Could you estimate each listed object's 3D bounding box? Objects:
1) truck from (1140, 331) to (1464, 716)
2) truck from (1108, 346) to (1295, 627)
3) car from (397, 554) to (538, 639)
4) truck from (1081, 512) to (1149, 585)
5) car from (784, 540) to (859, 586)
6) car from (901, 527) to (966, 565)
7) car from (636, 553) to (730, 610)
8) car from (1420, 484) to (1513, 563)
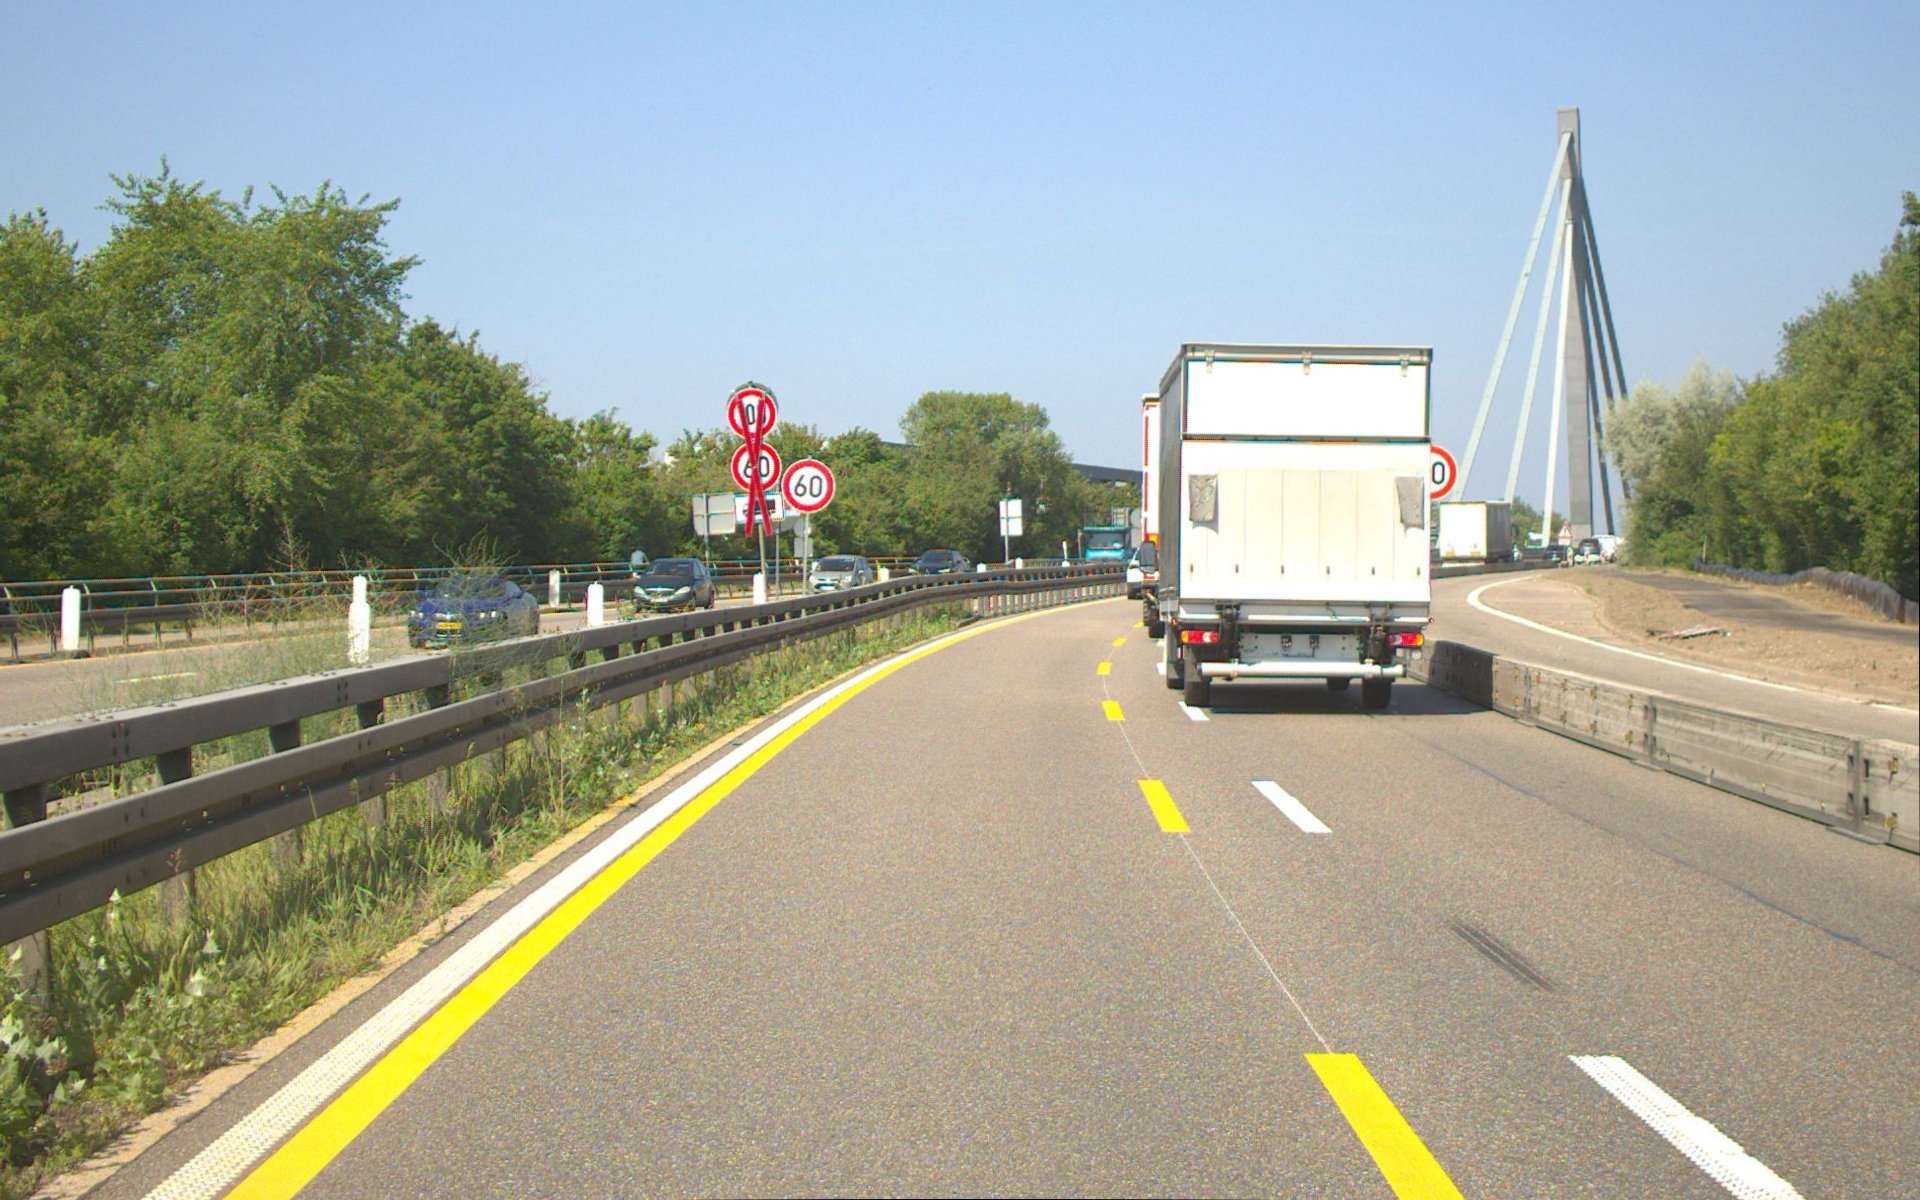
[{"bbox_3d":[3.258,-0.760,34.523,2.634,3.416,7.233,1,1,1],"label":"truck"},{"bbox_3d":[4.014,-1.892,58.568,2.634,4.453,7.233,1,1,0],"label":"truck"},{"bbox_3d":[-9.609,-0.084,67.311,1.994,1.546,4.000,-1,1,3],"label":"car"},{"bbox_3d":[8.118,-2.732,179.616,2.509,3.601,6.191,-2,2,11],"label":"truck"},{"bbox_3d":[-4.843,-1.301,120.689,1.994,1.546,3.999,-1,1,7],"label":"car"},{"bbox_3d":[-1.105,-2.281,145.527,1.994,1.546,3.998,-1,1,10],"label":"car"},{"bbox_3d":[-7.971,-0.544,99.404,1.994,1.546,3.999,-1,1,6],"label":"car"},{"bbox_3d":[29.018,-4.441,196.668,4.210,4.237,10.656,-2,2,13],"label":"car"}]
